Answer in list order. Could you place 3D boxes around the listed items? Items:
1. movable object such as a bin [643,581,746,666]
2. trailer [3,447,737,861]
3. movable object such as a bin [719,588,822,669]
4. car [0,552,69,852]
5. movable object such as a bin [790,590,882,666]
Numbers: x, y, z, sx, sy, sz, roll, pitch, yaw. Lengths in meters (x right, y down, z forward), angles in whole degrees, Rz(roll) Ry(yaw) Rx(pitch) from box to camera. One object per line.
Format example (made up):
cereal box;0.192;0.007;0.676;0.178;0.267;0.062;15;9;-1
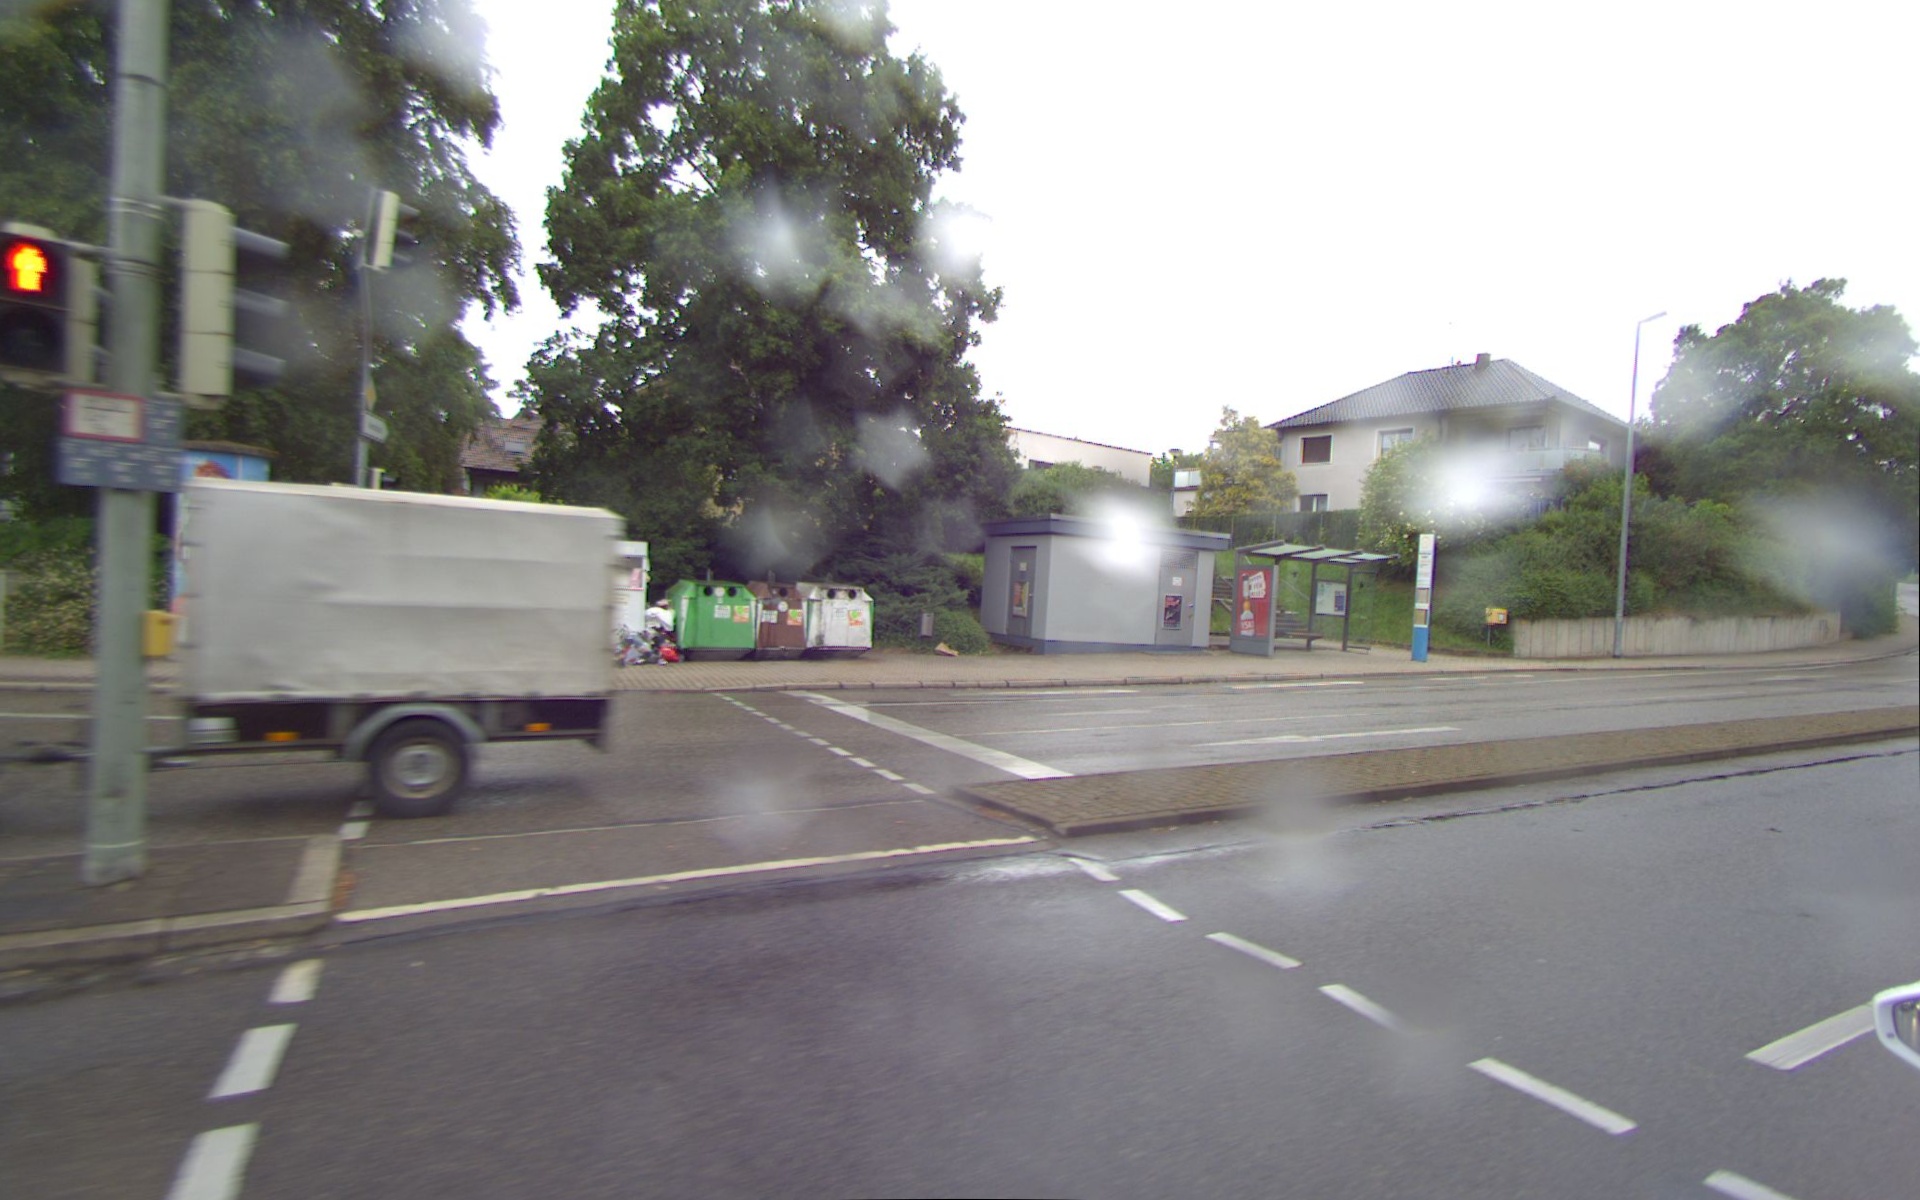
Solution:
movable object such as a bin;-5.353;0.451;20.162;1.561;1.590;2.049;1;0;-28
trailer;-3.886;0.358;7.249;3.993;2.208;1.885;3;-1;-33
movable object such as a bin;-3.980;0.562;20.940;1.561;1.590;2.049;1;0;-28
car;-7.509;0.476;4.880;4.432;1.705;1.888;3;-1;-33
movable object such as a bin;-2.695;0.577;21.631;1.327;1.535;2.049;1;0;-28
